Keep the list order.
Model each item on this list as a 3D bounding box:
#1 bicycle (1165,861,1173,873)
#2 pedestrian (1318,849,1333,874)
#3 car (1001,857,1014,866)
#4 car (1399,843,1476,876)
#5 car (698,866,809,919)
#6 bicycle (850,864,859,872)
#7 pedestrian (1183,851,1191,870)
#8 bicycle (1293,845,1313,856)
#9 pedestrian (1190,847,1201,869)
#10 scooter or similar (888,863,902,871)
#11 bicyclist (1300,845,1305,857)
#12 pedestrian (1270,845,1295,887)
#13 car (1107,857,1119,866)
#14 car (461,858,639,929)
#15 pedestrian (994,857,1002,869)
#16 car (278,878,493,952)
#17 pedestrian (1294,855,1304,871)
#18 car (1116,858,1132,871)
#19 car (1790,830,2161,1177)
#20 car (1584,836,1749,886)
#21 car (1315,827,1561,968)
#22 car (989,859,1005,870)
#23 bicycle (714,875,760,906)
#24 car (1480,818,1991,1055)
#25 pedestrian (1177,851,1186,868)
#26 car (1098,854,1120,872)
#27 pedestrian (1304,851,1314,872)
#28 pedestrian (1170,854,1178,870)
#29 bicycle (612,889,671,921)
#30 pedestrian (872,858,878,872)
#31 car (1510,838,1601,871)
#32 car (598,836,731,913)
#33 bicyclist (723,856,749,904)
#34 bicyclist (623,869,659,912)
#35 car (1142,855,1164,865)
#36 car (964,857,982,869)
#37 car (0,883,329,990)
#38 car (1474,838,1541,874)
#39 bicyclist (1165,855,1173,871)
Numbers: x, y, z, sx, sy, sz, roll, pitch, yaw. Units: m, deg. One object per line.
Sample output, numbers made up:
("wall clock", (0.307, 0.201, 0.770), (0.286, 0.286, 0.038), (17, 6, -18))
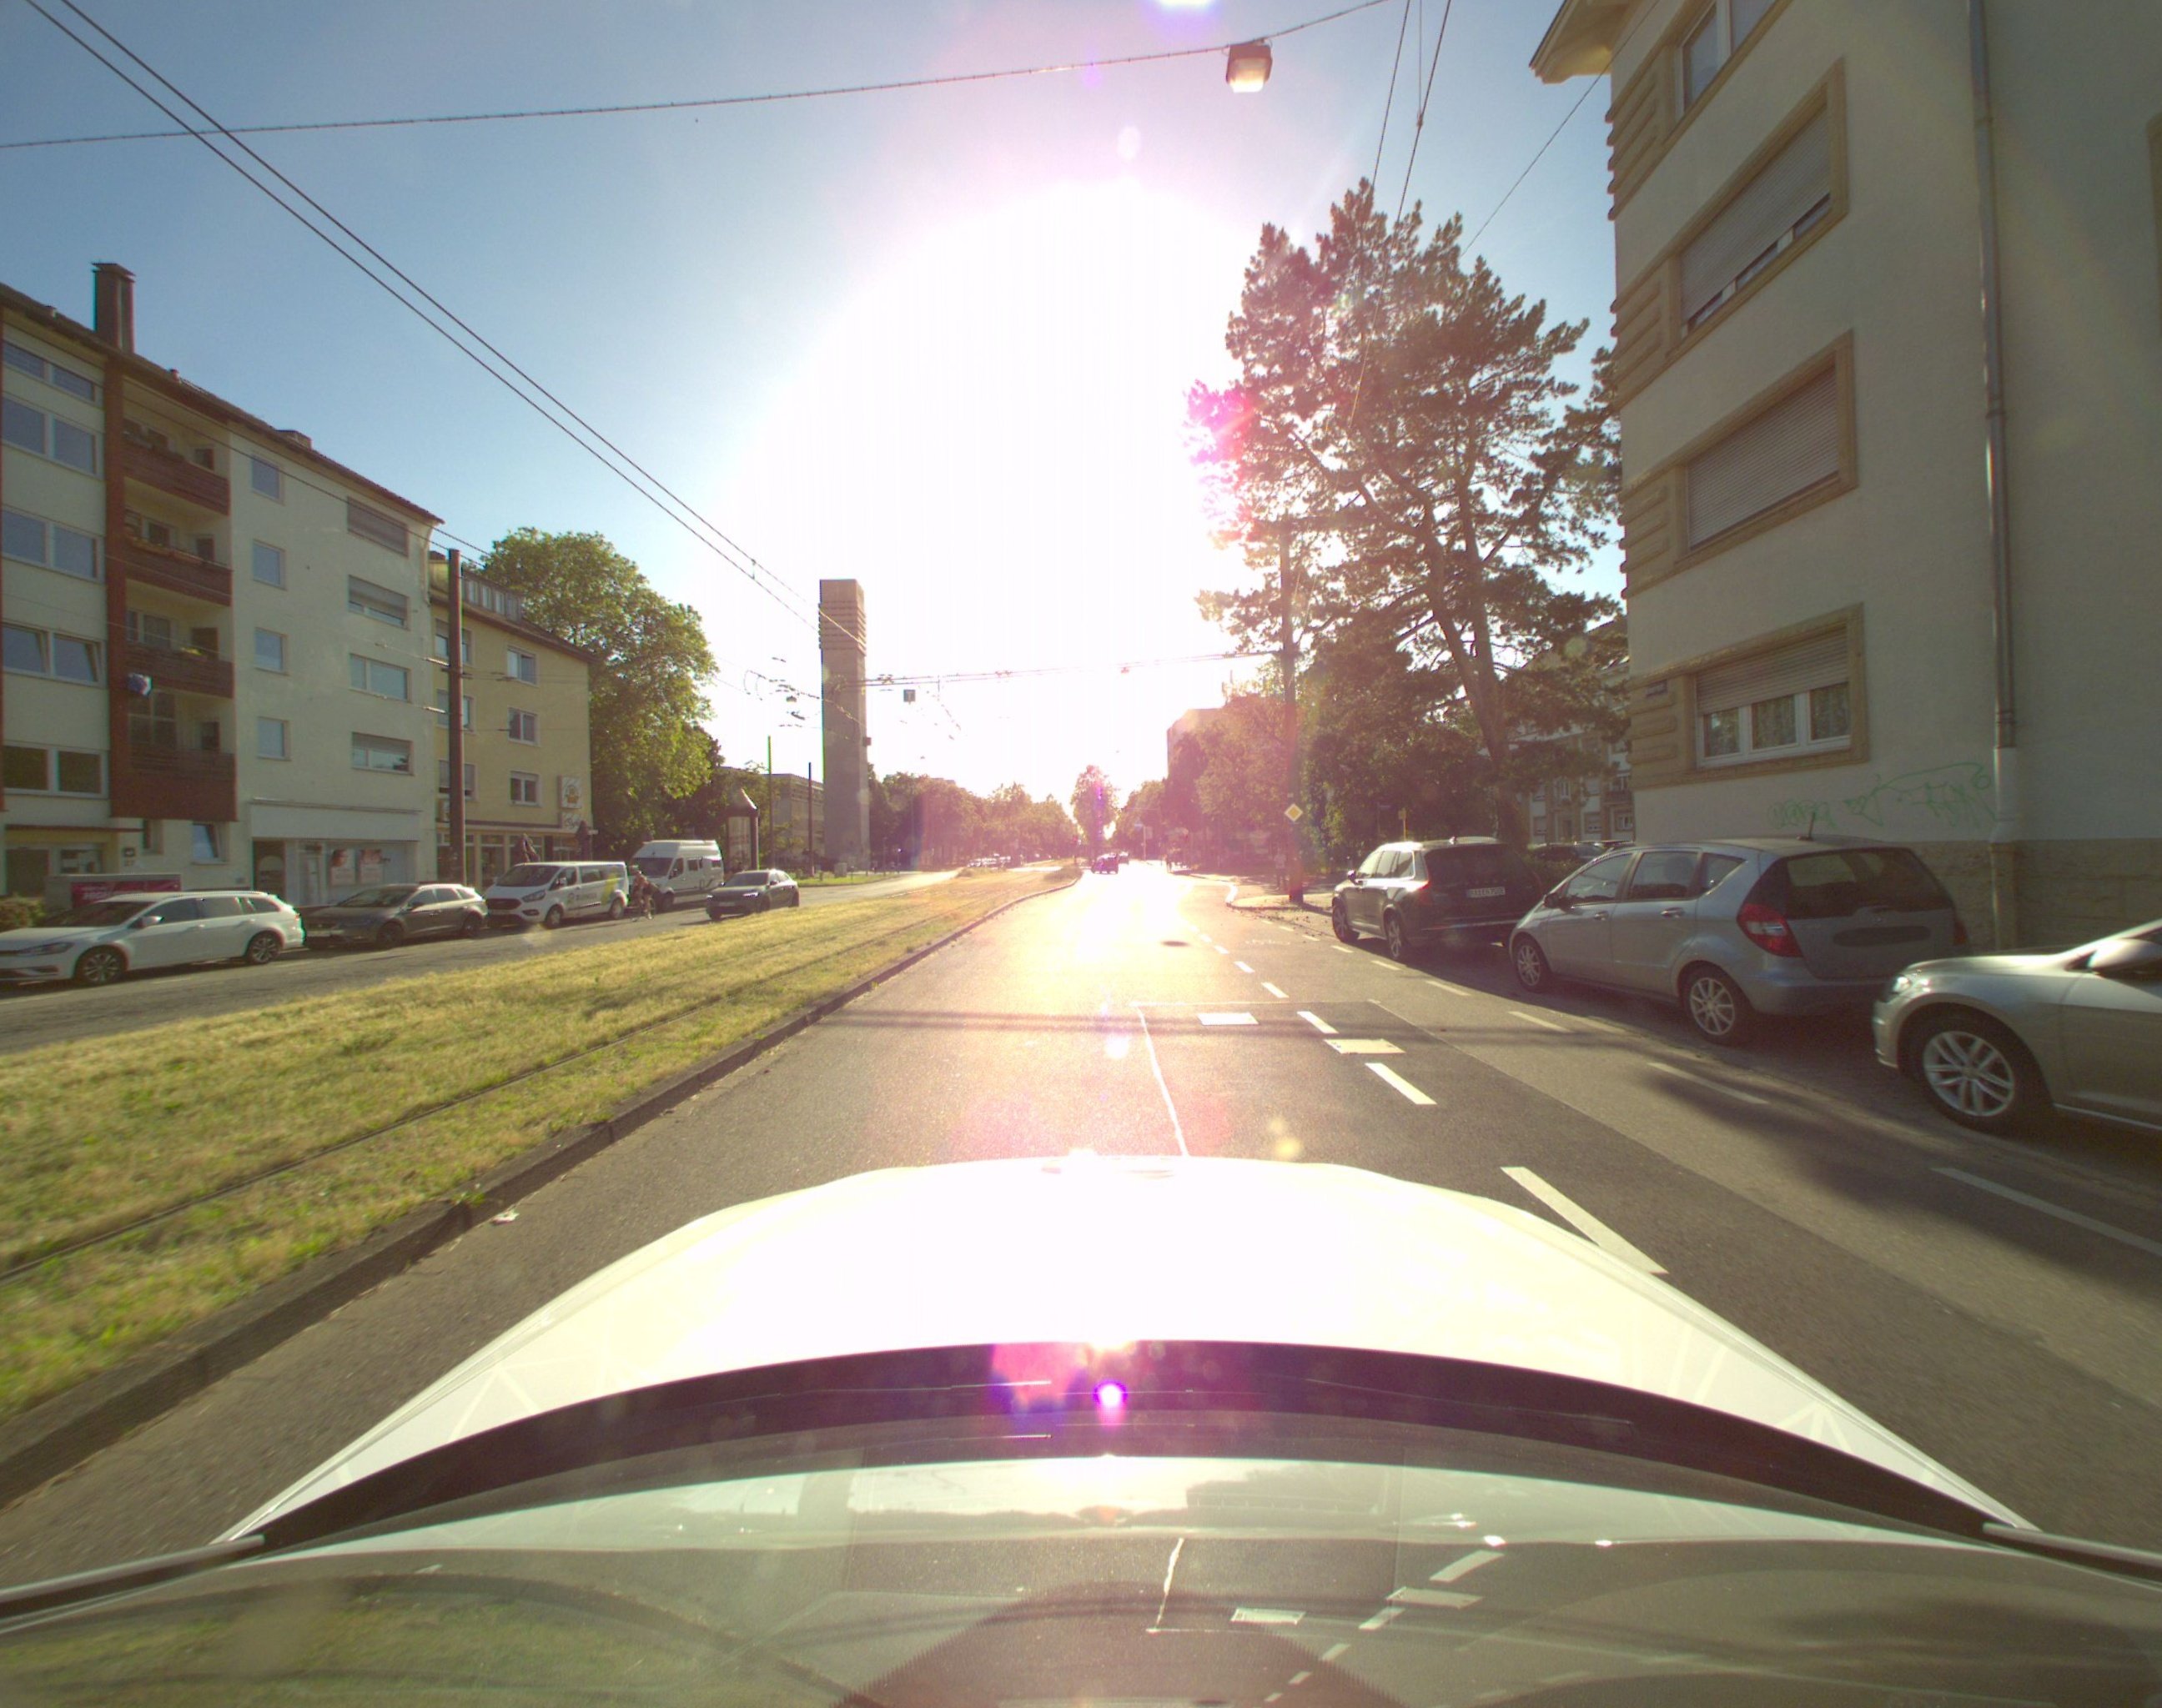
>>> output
("bicycle", (7.609, 1.118, 70.361), (0.645, 0.973, 1.805), (1, 0, 4))
("pedestrian", (14.058, 0.427, 46.894), (0.678, 1.373, 0.760), (1, 0, 28))
("car", (-11.945, 1.269, 132.730), (1.560, 1.402, 3.916), (1, 0, 1))
("car", (17.520, 0.266, 40.217), (1.636, 1.494, 3.795), (-2, 0, -10))
("car", (-10.454, 1.165, 26.336), (1.688, 1.448, 4.219), (-3, 0, 2))
("bicycle", (-29.317, 1.834, 105.336), (0.488, 1.046, 1.687), (1, 0, 9))
("pedestrian", (8.678, 0.526, 66.758), (0.526, 1.529, 0.628), (-3, -1, 6))
("bicycle", (29.255, -0.403, 107.224), (2.462, 1.399, 0.608), (1, 0, 0))
("pedestrian", (9.352, 0.336, 66.610), (0.699, 1.789, 0.695), (-4, 0, 6))
("scooter or similar", (-22.992, 1.633, 100.686), (1.737, 0.899, 0.560), (-1, 0, -15))
("bicyclist", (29.040, -0.405, 106.655), (0.525, 1.567, 0.464), (1, 0, -1))
("pedestrian", (8.374, 0.490, 33.928), (0.876, 1.722, 0.726), (-2, 0, 6))
("car", (5.944, 1.422, 151.720), (1.888, 1.611, 4.499), (1, 0, 0))
("car", (-16.907, 1.154, 26.374), (2.024, 2.021, 5.373), (1, 0, 2))
("pedestrian", (-11.208, 1.154, 109.968), (0.887, 1.606, 0.613), (1, 0, 1))
("car", (-16.995, 1.416, 20.244), (1.690, 1.515, 4.323), (0, 0, -2))
("pedestrian", (12.754, 0.531, 47.590), (0.399, 0.934, 0.627), (1, 2, 28))
("car", (6.199, 1.497, 117.918), (1.962, 1.860, 3.999), (1, 0, 0))
("car", (5.441, 0.629, 3.194), (1.506, 1.478, 4.235), (-3, 0, -1))
("car", (19.873, 0.282, 27.880), (4.252, 1.502, 1.779), (-3, -4, 24))
("car", (5.432, 0.584, 13.235), (1.872, 1.717, 4.936), (-4, 0, 2))
("car", (-12.197, 1.460, 118.179), (1.681, 1.533, 4.362), (-2, 0, 1))
("bicycle", (-14.503, 1.517, 34.438), (0.765, 1.146, 2.475), (-3, 0, 1))
("car", (5.621, 0.594, 7.745), (1.589, 1.578, 3.893), (-4, 0, -2))
("pedestrian", (9.825, 0.558, 79.719), (0.724, 1.682, 0.534), (1, 0, 13))
("car", (2.371, 0.760, 69.183), (1.689, 1.508, 3.697), (0, 0, -1))
("pedestrian", (13.292, 0.431, 47.552), (0.399, 1.226, 0.765), (1, 0, 28))
("pedestrian", (9.123, 0.763, 79.775), (0.642, 1.522, 0.498), (1, 0, 13))
("bicycle", (-14.450, 1.668, 26.843), (0.765, 0.879, 2.069), (-3, 0, 1))
("pedestrian", (-25.258, 1.384, 100.014), (0.440, 1.666, 0.748), (1, 0, 11))
("car", (22.536, 0.038, 38.891), (1.632, 1.440, 4.235), (-2, 0, -4))
("car", (-16.768, 0.773, 33.286), (2.024, 2.868, 6.231), (0, 0, 2))
("bicyclist", (-14.580, 1.094, 34.421), (0.770, 2.014, 0.648), (1, 0, 1))
("bicyclist", (-14.462, 1.188, 26.766), (0.770, 1.384, 0.648), (-2, 0, 1))
("car", (14.127, 1.228, 159.617), (3.960, 1.860, 2.018), (1, 0, 12))
("car", (-15.602, 1.292, 117.656), (1.800, 1.533, 4.362), (-2, 0, 1))
("car", (-17.051, 1.378, 15.093), (1.886, 1.491, 4.701), (0, 0, -1))
("car", (20.522, 0.099, 39.317), (1.445, 1.572, 3.814), (-3, 0, 5))
("bicyclist", (7.614, 0.783, 70.339), (0.635, 1.323, 0.804), (1, 0, 3))
